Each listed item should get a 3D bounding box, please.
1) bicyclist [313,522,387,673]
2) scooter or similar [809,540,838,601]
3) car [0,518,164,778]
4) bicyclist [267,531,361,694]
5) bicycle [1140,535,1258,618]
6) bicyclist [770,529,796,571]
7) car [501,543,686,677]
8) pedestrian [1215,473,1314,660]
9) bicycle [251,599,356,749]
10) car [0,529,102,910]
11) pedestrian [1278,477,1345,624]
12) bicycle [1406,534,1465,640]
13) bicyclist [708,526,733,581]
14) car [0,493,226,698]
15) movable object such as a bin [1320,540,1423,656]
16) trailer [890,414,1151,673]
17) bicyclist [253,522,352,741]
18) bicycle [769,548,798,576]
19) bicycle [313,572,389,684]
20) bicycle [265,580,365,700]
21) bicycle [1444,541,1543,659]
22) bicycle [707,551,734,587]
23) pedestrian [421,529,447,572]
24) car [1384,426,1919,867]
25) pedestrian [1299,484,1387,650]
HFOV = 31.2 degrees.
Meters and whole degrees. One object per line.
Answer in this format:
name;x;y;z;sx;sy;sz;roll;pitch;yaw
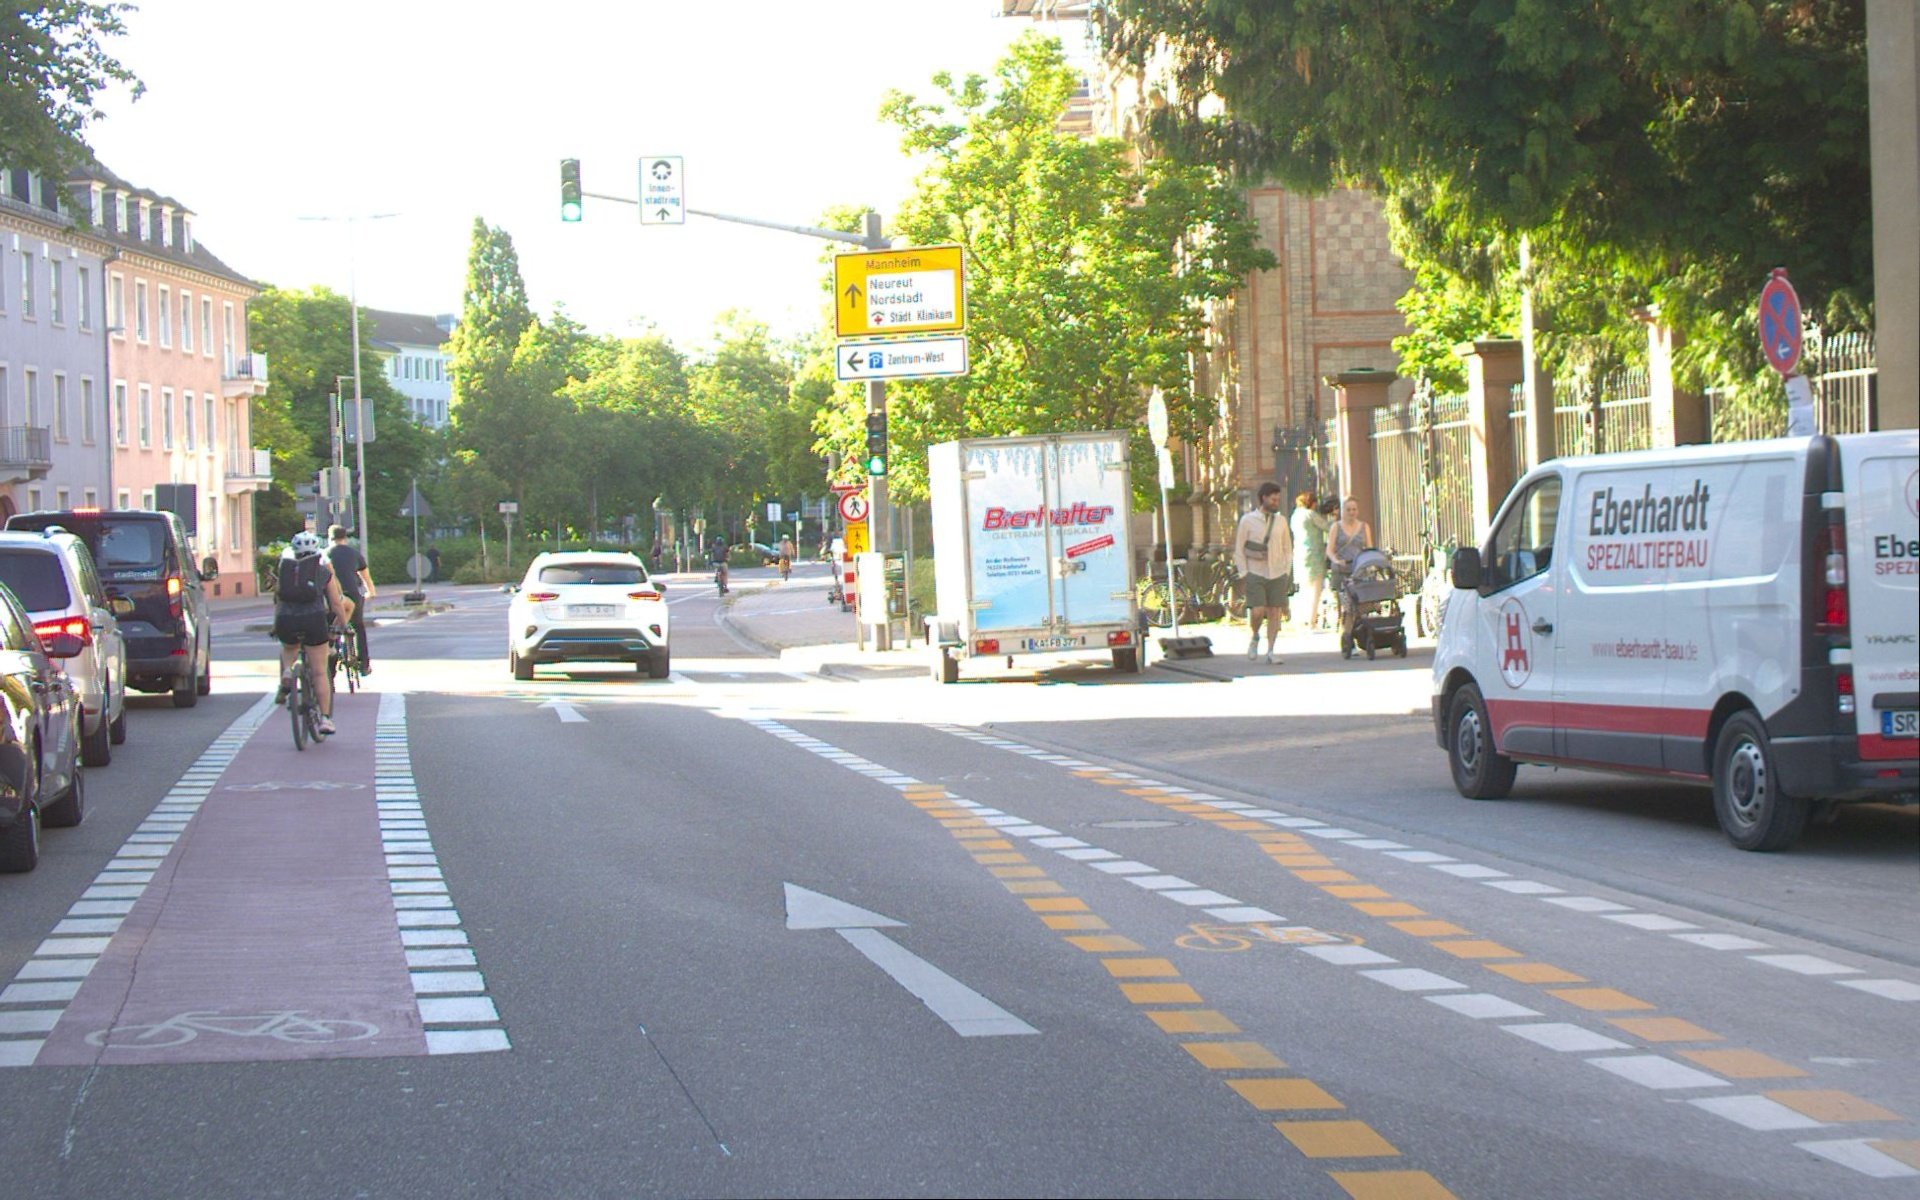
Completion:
bicyclist;-6.636;-0.034;37.437;0.670;1.602;0.825;-2;1;-6
scooter or similar;-3.040;-0.672;76.805;0.555;1.304;1.832;-2;2;-1
car;-7.187;0.301;25.654;1.991;1.743;4.749;-2;1;-8
bicyclist;-6.548;0.116;34.883;0.802;1.602;0.825;-2;1;-6
bicycle;3.210;-0.315;46.186;1.466;1.035;0.479;-3;1;-8
bicyclist;-6.619;-1.869;128.554;0.747;1.532;0.969;-1;1;8
car;-4.448;0.081;41.263;1.993;1.448;4.001;-3;1;-8
pedestrian;3.158;-0.357;35.709;0.715;1.888;0.890;-3;2;-11
bicycle;-5.045;0.551;26.490;0.669;1.069;1.753;-1;1;-7
car;-5.451;0.515;17.083;1.993;1.652;4.738;-2;1;-11
pedestrian;4.303;-0.604;42.109;0.639;1.762;0.738;-2;1;-5
bicycle;5.170;-0.152;37.409;0.274;1.102;1.532;-4;2;-4
bicyclist;-7.012;-1.371;100.702;0.636;1.609;1.284;-1;1;0
car;-8.836;-0.068;35.634;2.067;1.909;5.035;-2;1;-9
movable object such as a bin;4.221;-0.031;35.312;0.711;1.113;1.051;-4;2;-10
trailer;0.578;-0.635;37.421;2.079;2.519;4.493;-4;2;-7
bicyclist;-5.053;0.229;26.465;0.672;1.646;0.887;-1;1;-8
bicycle;-6.603;-1.419;128.591;0.753;1.022;1.869;-1;1;8
bicycle;-6.628;0.289;37.489;0.642;1.151;2.077;-1;1;-6
bicycle;-6.535;0.388;34.909;0.828;1.139;1.970;-1;1;-6
bicycle;5.310;-0.020;34.326;0.395;1.126;1.928;-2;1;-8
bicycle;-6.999;-0.902;100.576;0.643;1.021;2.213;0;1;0
pedestrian;-23.240;-2.177;151.952;0.856;1.845;1.001;-2;1;6
car;4.141;0.162;18.019;2.014;1.939;5.483;-1;1;-13
pedestrian;4.020;-0.350;36.108;0.682;1.695;0.694;-3;2;-9
